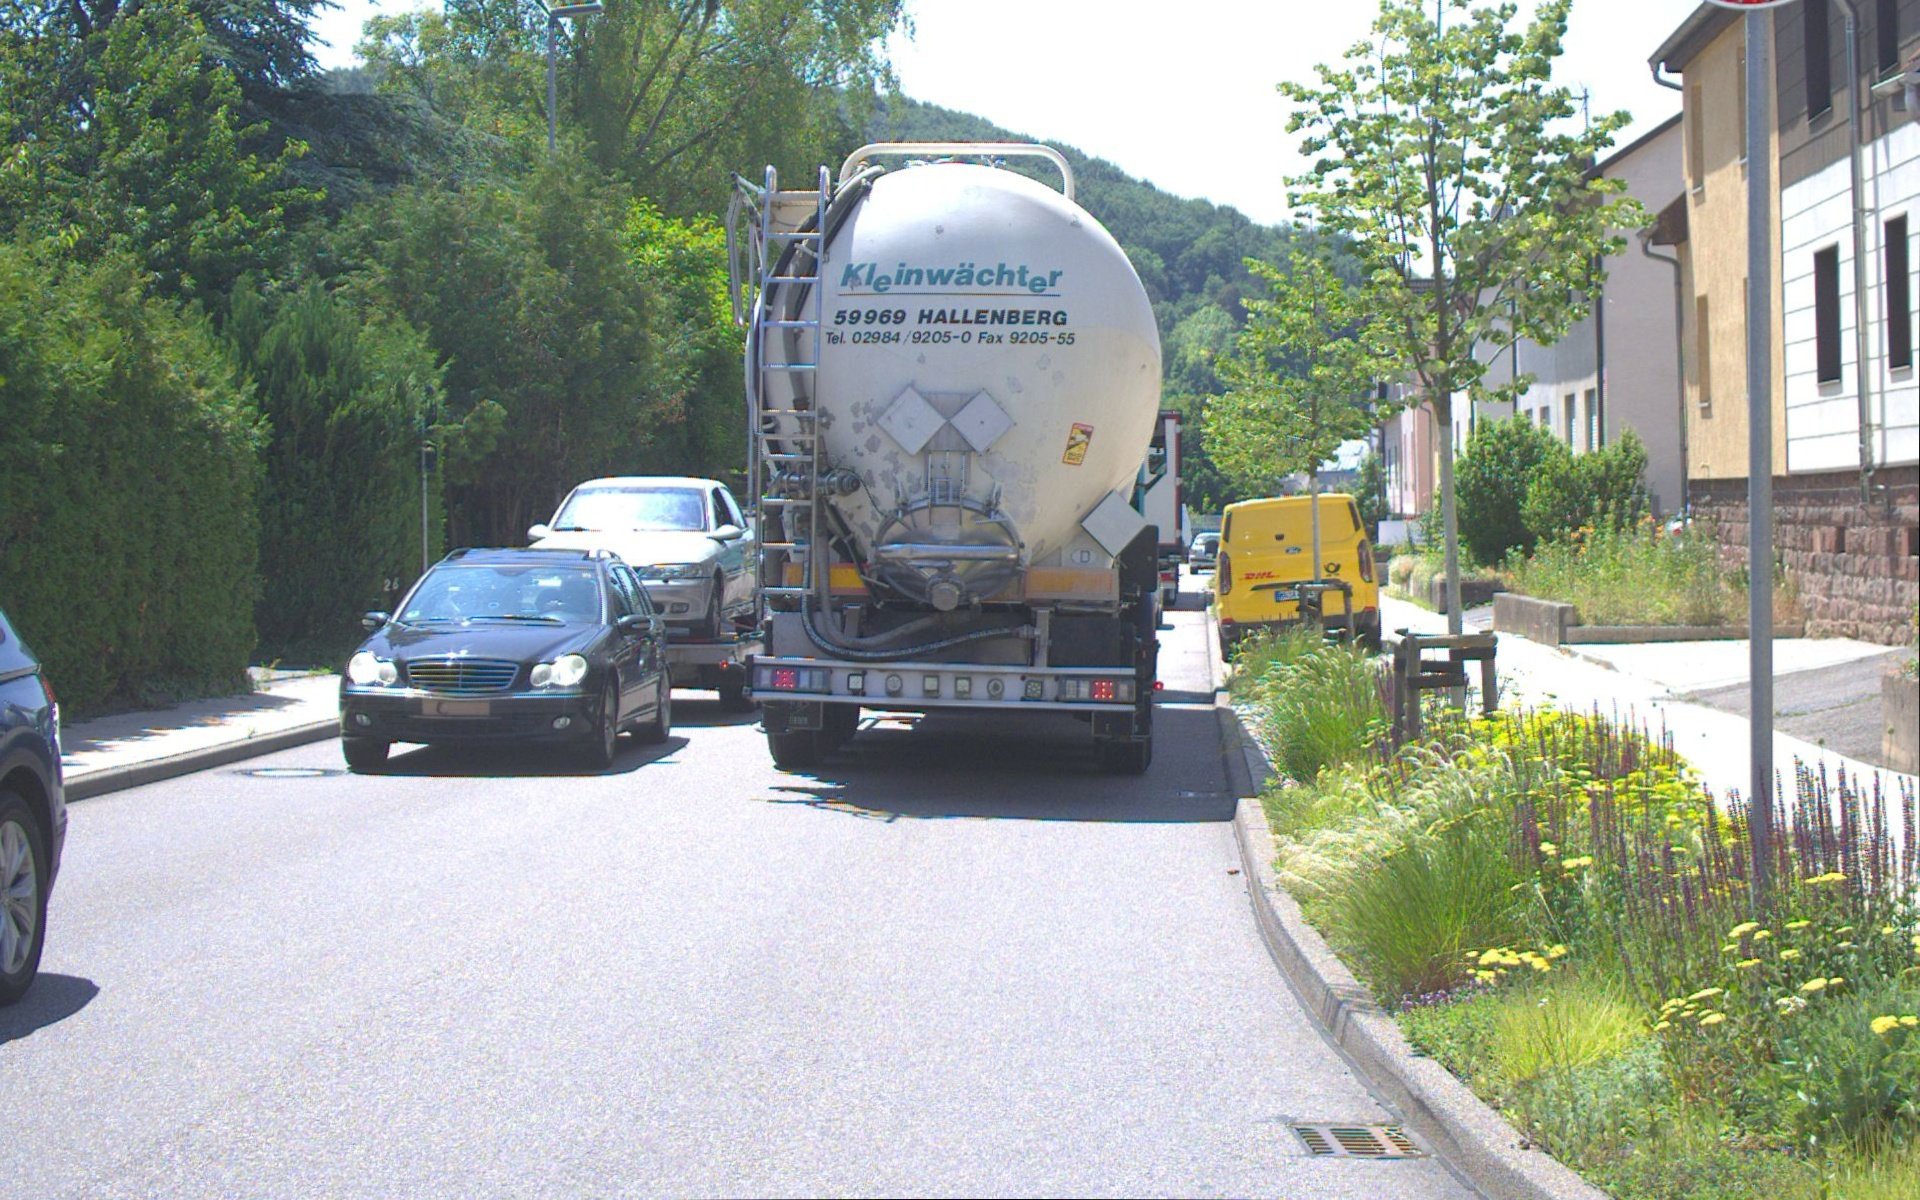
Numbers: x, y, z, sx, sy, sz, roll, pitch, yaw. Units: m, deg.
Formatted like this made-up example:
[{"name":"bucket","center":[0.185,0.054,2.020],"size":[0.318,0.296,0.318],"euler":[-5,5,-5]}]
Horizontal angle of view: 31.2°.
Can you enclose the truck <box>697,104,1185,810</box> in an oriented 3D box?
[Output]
[{"name":"truck","center":[0.236,-0.944,25.211],"size":[2.750,4.043,10.888],"euler":[0,1,4]}]

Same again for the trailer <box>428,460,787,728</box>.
[{"name":"trailer","center":[-2.817,-0.066,29.016],"size":[2.155,1.980,6.201],"euler":[1,0,2]}]

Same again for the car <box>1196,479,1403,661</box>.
[{"name":"car","center":[4.236,-0.373,43.757],"size":[2.189,2.007,5.622],"euler":[-4,0,3]}]

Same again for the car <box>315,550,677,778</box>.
[{"name":"car","center":[-3.101,0.389,23.781],"size":[1.767,1.397,4.247],"euler":[1,0,2]}]

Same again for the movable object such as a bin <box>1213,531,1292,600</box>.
[{"name":"movable object such as a bin","center":[6.229,-0.725,73.399],"size":[1.572,1.412,3.041],"euler":[-1,0,3]}]

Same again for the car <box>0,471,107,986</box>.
[{"name":"car","center":[-4.032,0.399,9.808],"size":[1.888,1.639,4.613],"euler":[1,0,2]}]

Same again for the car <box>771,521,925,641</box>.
[{"name":"car","center":[-1.591,-0.314,50.287],"size":[1.867,1.647,3.948],"euler":[1,2,3]}]
